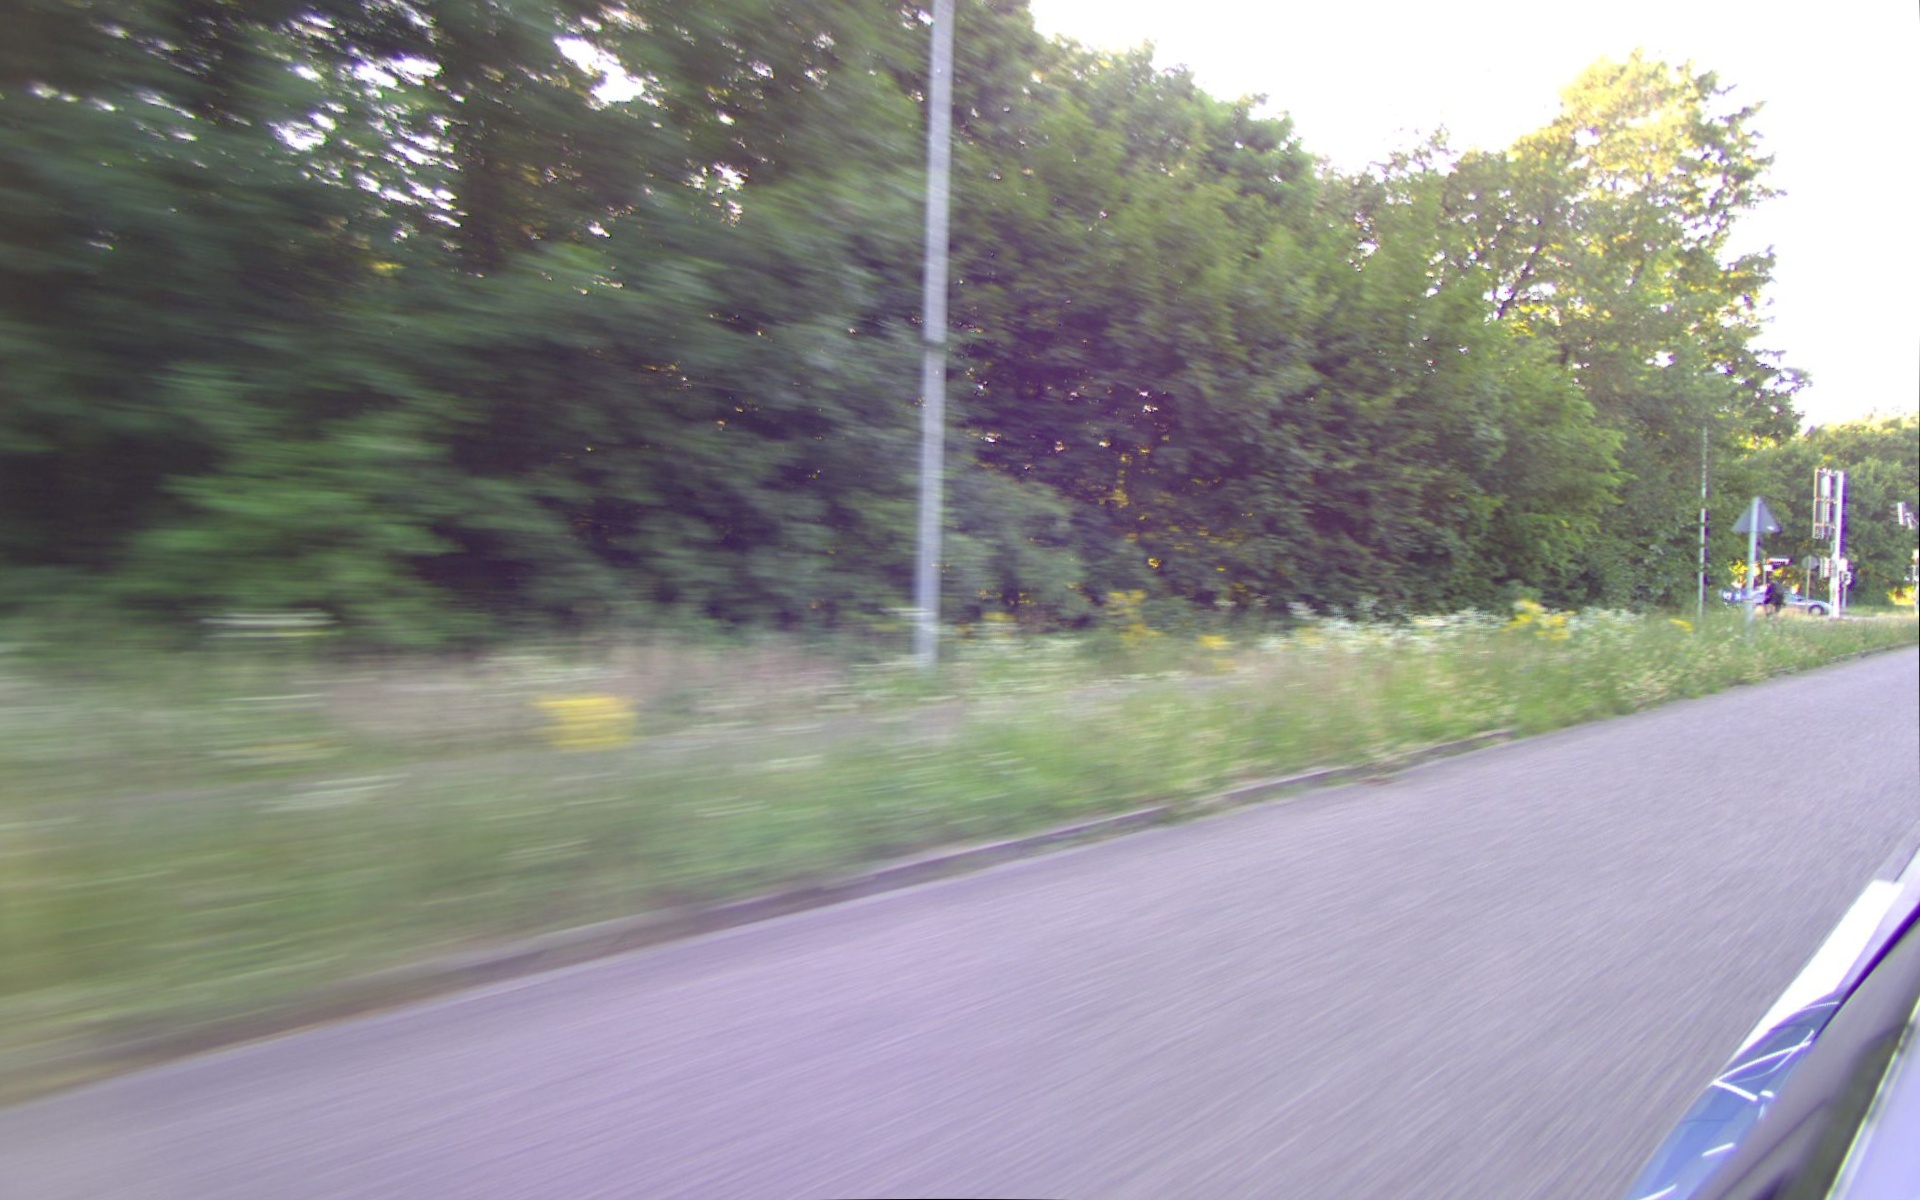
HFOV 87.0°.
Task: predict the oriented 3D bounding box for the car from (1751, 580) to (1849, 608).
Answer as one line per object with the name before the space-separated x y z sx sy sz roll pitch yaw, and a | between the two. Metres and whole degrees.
car | 49.077 -0.369 59.221 4.037 1.422 1.855 2 3 27

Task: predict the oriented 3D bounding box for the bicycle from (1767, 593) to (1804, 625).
bicycle | 28.230 0.303 34.600 1.661 1.008 0.612 -1 3 -39

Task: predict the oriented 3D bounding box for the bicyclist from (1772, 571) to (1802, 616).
bicyclist | 28.170 -0.223 34.491 0.766 1.473 0.605 0 2 -39
